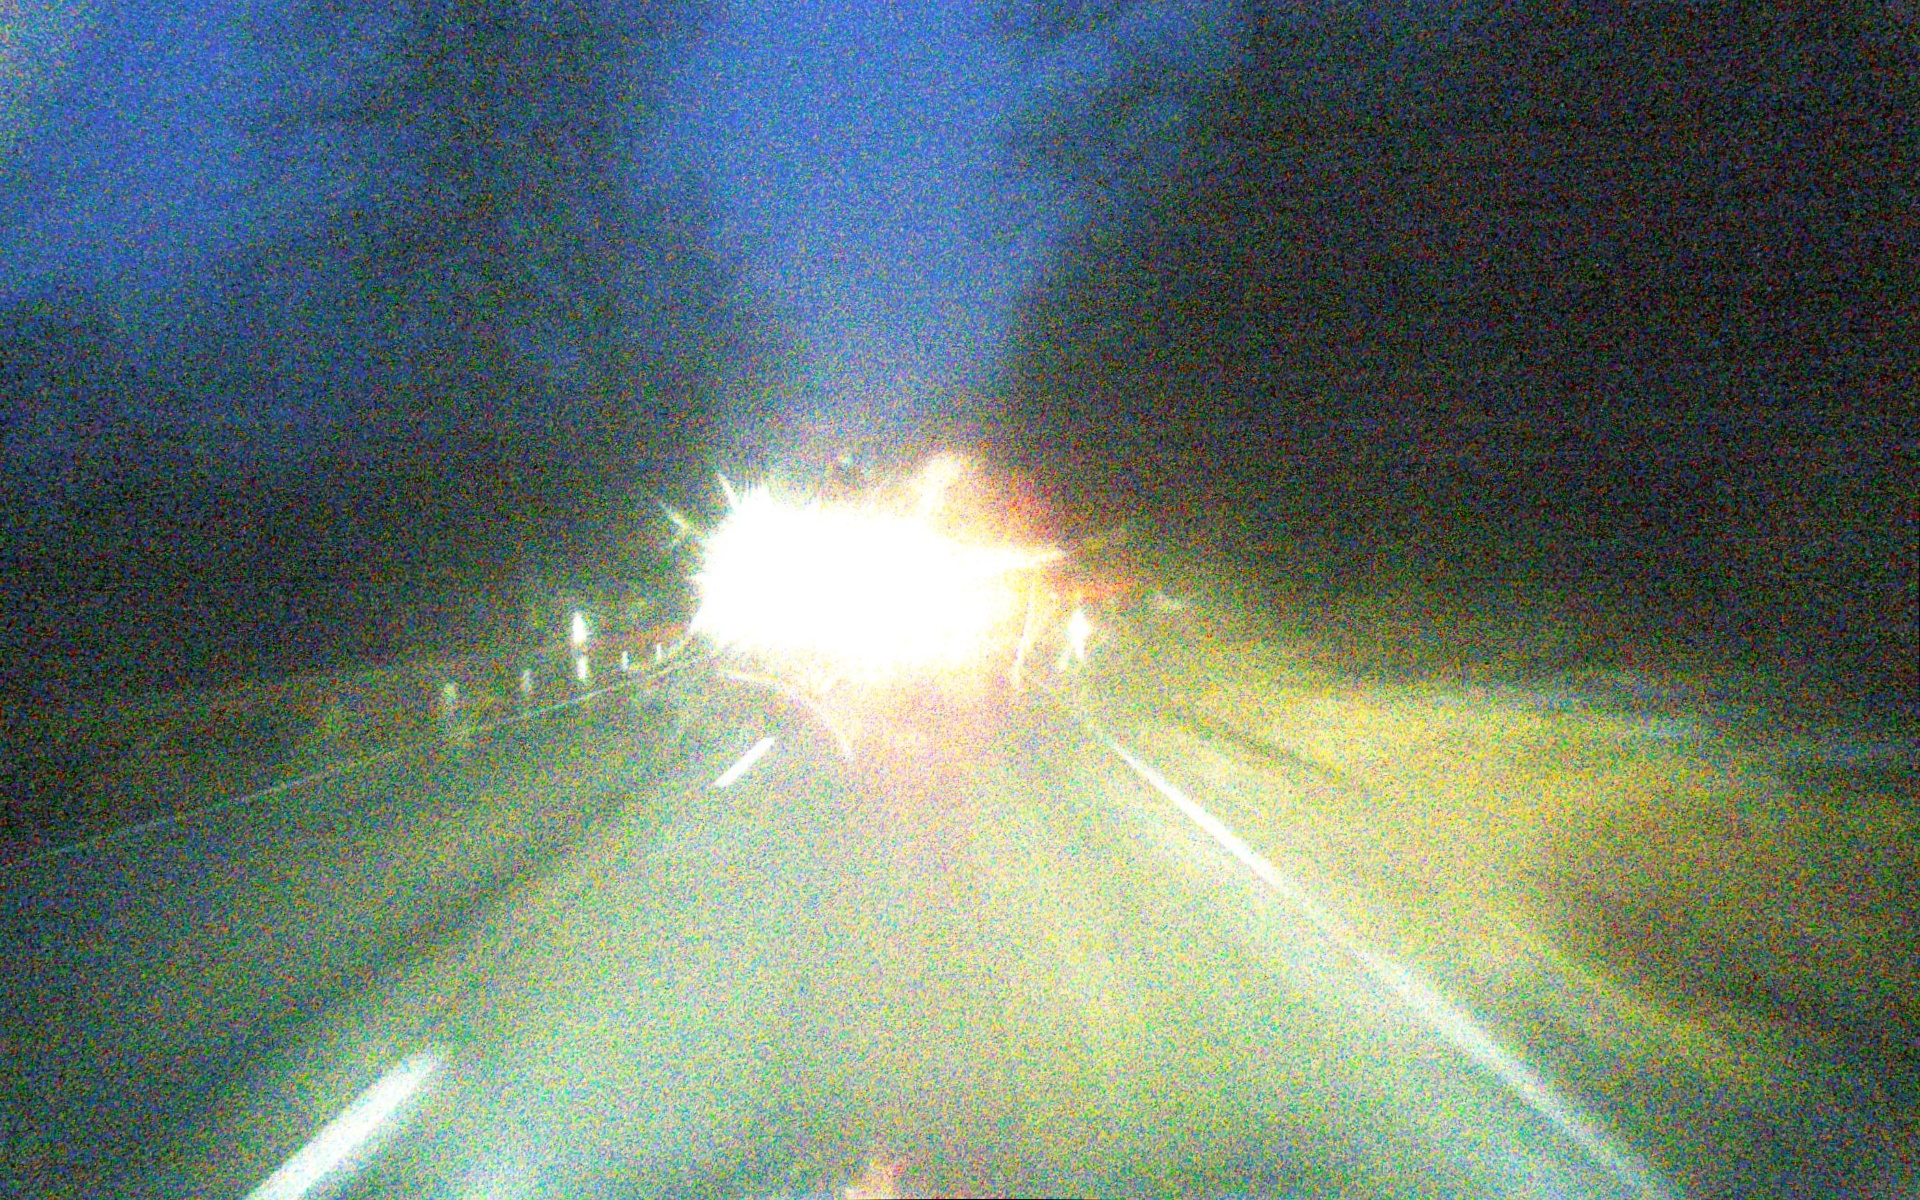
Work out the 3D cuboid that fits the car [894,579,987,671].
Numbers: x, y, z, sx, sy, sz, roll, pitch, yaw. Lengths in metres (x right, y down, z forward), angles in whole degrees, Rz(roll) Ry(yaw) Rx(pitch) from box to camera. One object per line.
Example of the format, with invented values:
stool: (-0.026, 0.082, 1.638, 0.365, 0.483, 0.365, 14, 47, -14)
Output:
car: (-0.506, 0.514, 38.059, 1.954, 1.838, 3.916, -2, 2, -3)
